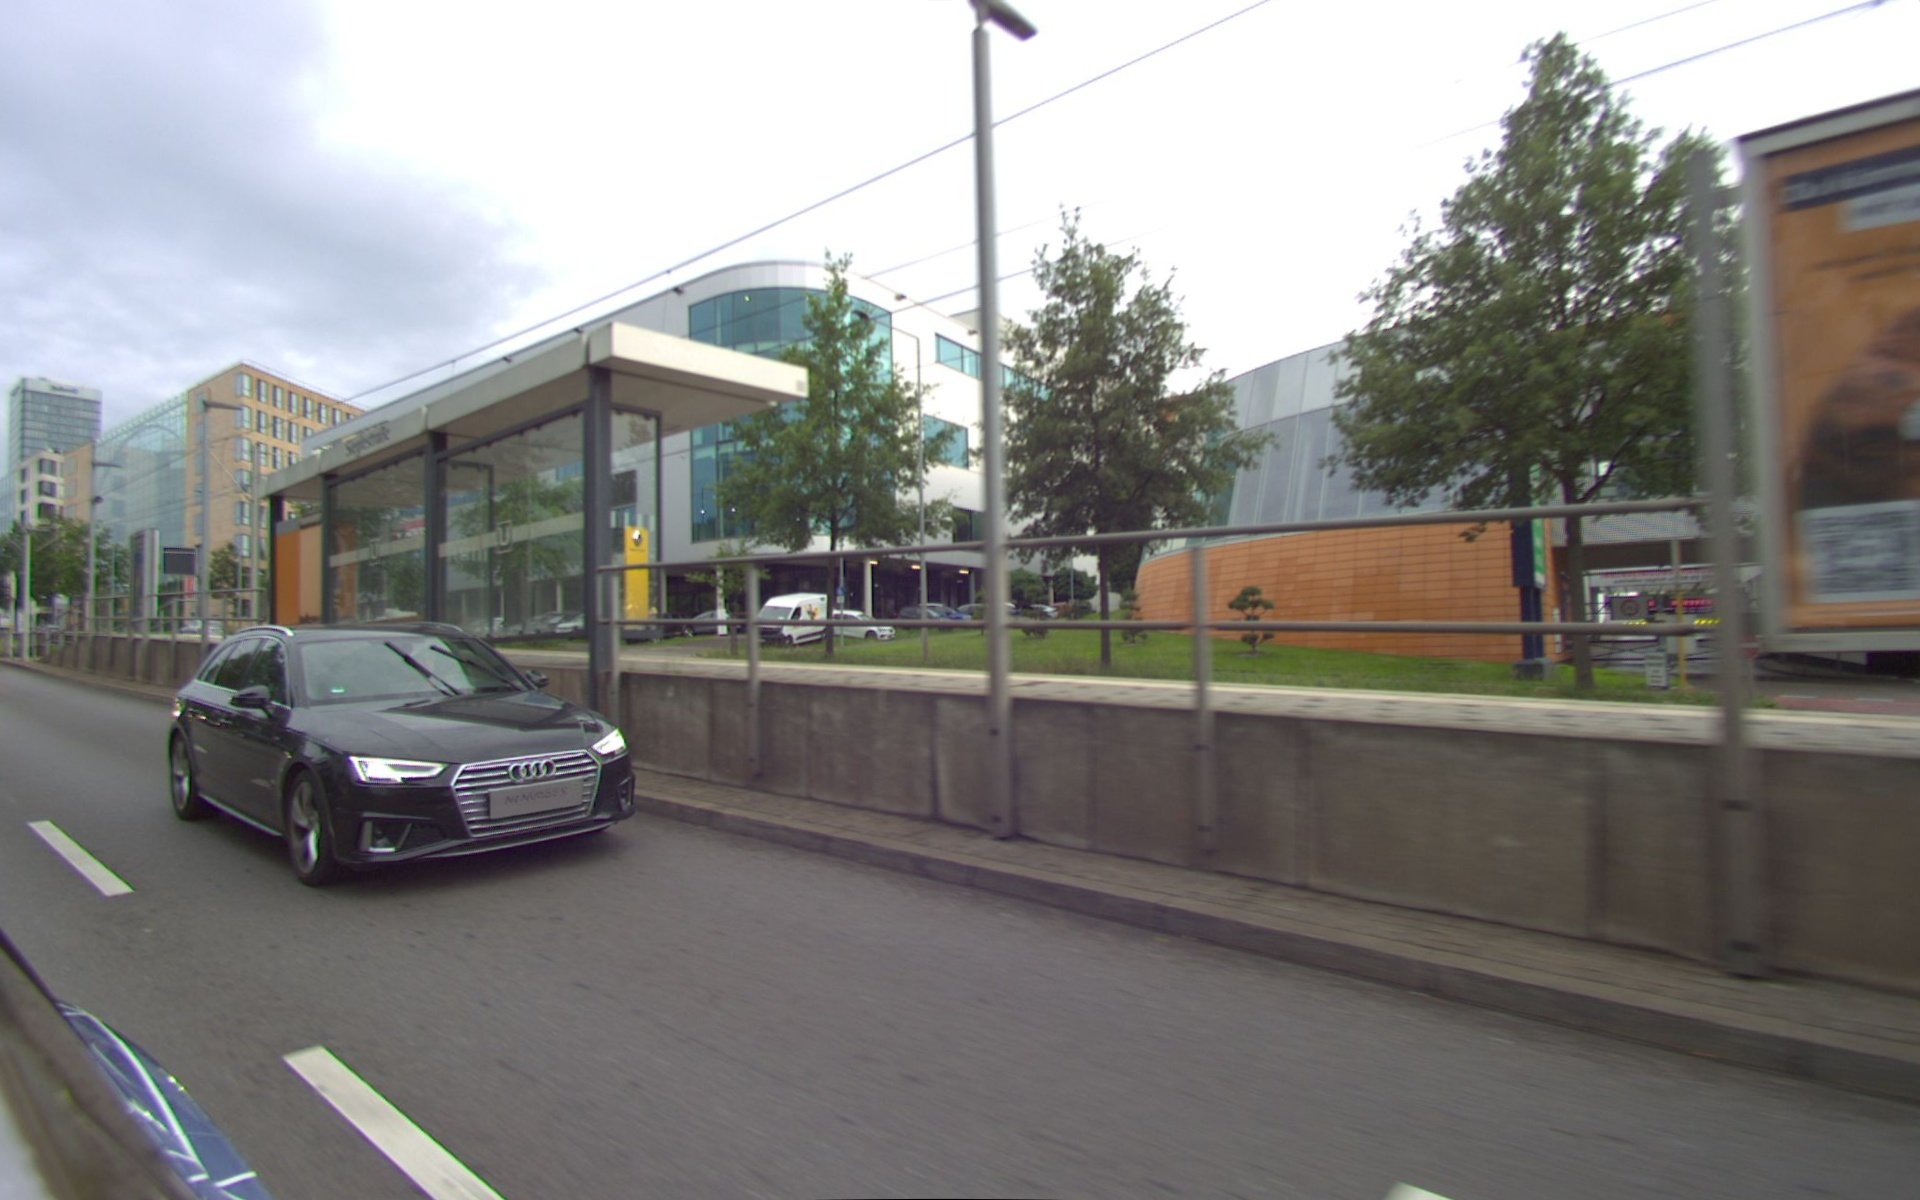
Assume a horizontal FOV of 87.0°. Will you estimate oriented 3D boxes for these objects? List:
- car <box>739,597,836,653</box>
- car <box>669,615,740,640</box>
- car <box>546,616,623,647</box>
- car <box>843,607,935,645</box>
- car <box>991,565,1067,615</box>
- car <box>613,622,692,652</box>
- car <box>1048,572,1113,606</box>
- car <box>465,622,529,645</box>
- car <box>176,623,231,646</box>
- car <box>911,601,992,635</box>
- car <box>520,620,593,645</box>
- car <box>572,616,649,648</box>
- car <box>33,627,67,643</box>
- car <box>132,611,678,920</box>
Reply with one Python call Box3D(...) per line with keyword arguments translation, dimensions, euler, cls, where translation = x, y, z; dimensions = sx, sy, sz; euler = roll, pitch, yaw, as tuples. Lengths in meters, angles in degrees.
Box3D(translation=(-8.602, 1.191, 50.995), dimensions=(2.265, 2.648, 5.442), euler=(-1, 0, 23), cls="car")
Box3D(translation=(-15.715, 1.687, 62.310), dimensions=(3.946, 1.480, 1.770), euler=(-1, -1, 2), cls="car")
Box3D(translation=(-22.764, 1.885, 61.478), dimensions=(1.917, 1.674, 3.955), euler=(-2, 1, 34), cls="car")
Box3D(translation=(-3.866, 1.405, 56.205), dimensions=(2.273, 1.940, 5.421), euler=(-1, 0, 34), cls="car")
Box3D(translation=(4.868, -0.686, 70.541), dimensions=(2.993, 3.296, 5.421), euler=(-1, 0, 34), cls="car")
Box3D(translation=(-17.048, 2.011, 56.239), dimensions=(1.891, 1.519, 3.956), euler=(-1, 0, 32), cls="car")
Box3D(translation=(9.339, -0.855, 78.028), dimensions=(2.741, 2.513, 5.421), euler=(-1, 0, 34), cls="car")
Box3D(translation=(-31.616, 2.282, 69.191), dimensions=(1.812, 1.502, 3.814), euler=(-1, -1, 22), cls="car")
Box3D(translation=(-50.109, 2.252, 66.997), dimensions=(4.871, 1.399, 1.973), euler=(-1, 0, 41), cls="car")
Box3D(translation=(-0.464, 1.088, 62.546), dimensions=(2.273, 1.940, 5.421), euler=(-1, 0, 34), cls="car")
Box3D(translation=(-25.155, 2.017, 63.205), dimensions=(1.819, 1.502, 3.954), euler=(-2, -1, 34), cls="car")
Box3D(translation=(-20.624, 1.859, 59.880), dimensions=(1.917, 1.674, 3.954), euler=(-2, 0, 34), cls="car")
Box3D(translation=(-93.637, 3.582, 104.118), dimensions=(4.871, 1.447, 1.973), euler=(-1, 0, 41), cls="car")
Box3D(translation=(-4.100, 0.837, 7.028), dimensions=(4.826, 1.445, 1.772), euler=(-2, -1, 41), cls="car")
